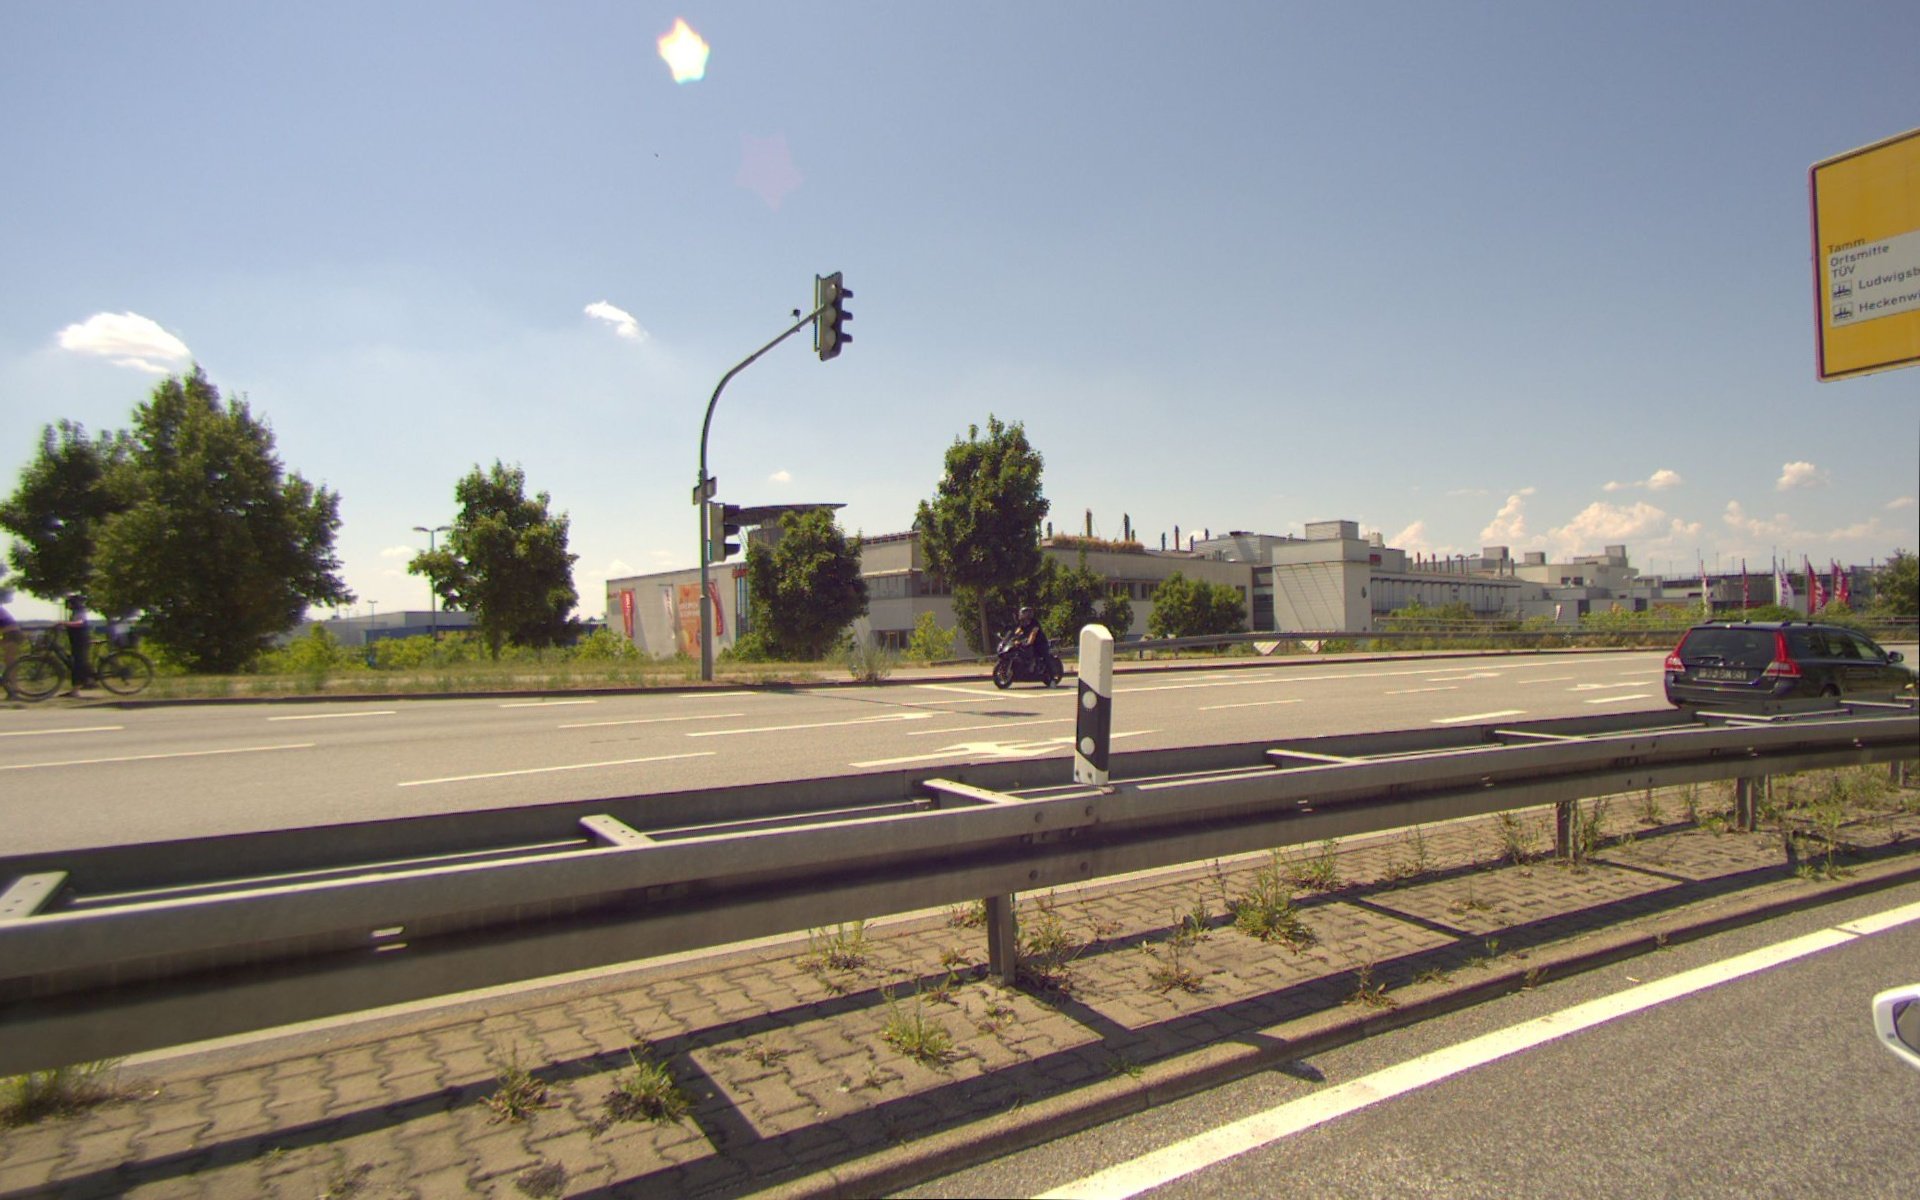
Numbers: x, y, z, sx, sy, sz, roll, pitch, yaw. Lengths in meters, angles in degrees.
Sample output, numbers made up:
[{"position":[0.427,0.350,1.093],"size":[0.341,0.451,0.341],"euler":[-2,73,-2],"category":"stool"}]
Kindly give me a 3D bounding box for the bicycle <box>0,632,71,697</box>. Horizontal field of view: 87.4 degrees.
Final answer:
[{"position":[-15.988,1.068,16.647],"size":[0.409,1.038,1.823],"euler":[1,0,41],"category":"bicycle"}]

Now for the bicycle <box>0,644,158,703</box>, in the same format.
[{"position":[-14.375,1.168,16.259],"size":[0.527,0.864,2.117],"euler":[1,0,40],"category":"bicycle"}]

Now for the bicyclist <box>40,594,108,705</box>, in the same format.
[{"position":[-14.354,0.788,16.276],"size":[0.523,1.740,0.727],"euler":[1,0,40],"category":"bicyclist"}]

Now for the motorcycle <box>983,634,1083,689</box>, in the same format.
[{"position":[1.535,1.254,20.789],"size":[2.264,1.094,0.558],"euler":[1,-3,-38],"category":"motorcycle"}]

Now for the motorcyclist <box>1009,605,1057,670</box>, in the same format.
[{"position":[1.517,0.790,20.806],"size":[0.717,1.319,0.670],"euler":[1,-4,-38],"category":"motorcyclist"}]

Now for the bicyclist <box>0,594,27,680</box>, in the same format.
[{"position":[-15.980,0.607,16.647],"size":[0.402,1.423,0.681],"euler":[1,-1,41],"category":"bicyclist"}]

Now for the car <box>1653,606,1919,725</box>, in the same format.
[{"position":[12.629,0.936,15.104],"size":[4.676,1.565,1.724],"euler":[1,-2,-29],"category":"car"}]
